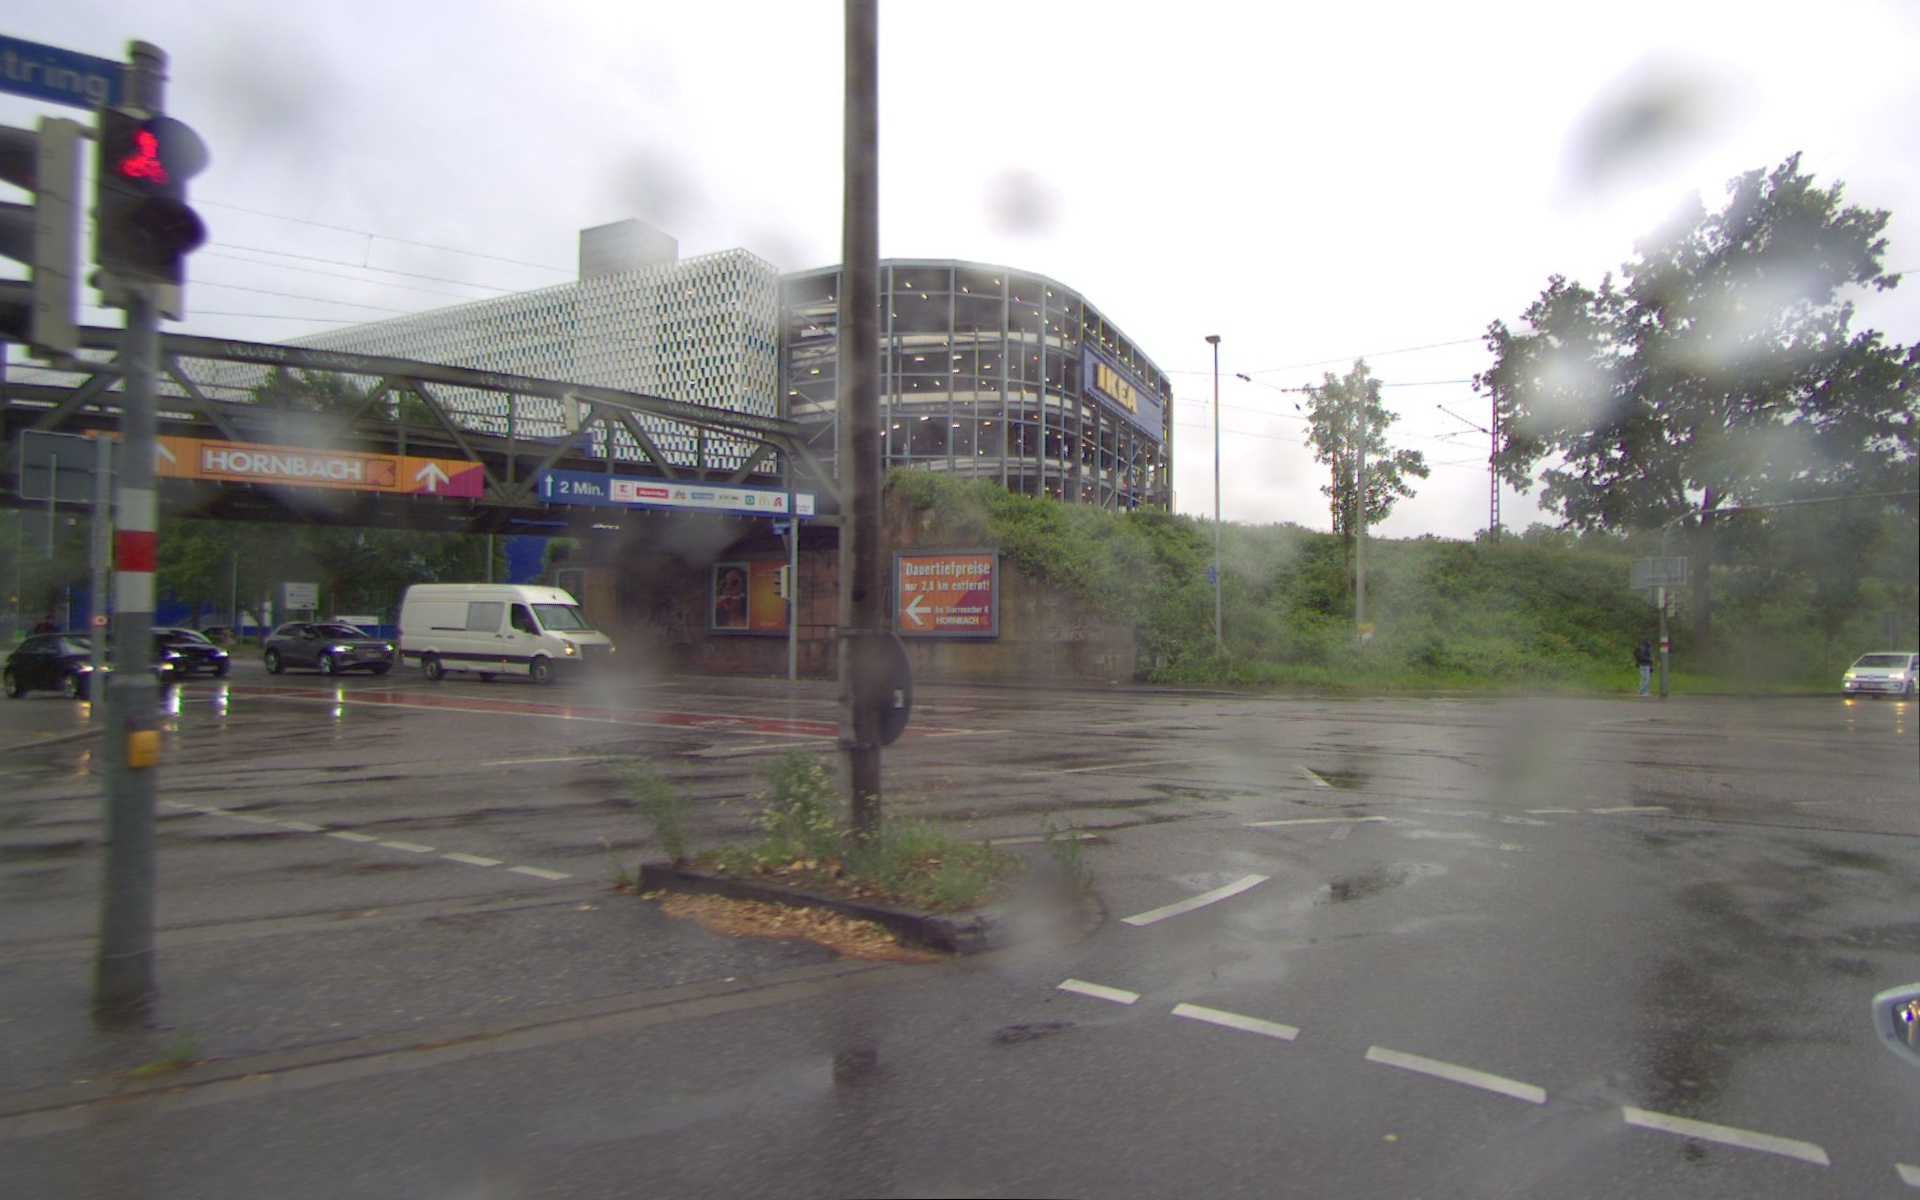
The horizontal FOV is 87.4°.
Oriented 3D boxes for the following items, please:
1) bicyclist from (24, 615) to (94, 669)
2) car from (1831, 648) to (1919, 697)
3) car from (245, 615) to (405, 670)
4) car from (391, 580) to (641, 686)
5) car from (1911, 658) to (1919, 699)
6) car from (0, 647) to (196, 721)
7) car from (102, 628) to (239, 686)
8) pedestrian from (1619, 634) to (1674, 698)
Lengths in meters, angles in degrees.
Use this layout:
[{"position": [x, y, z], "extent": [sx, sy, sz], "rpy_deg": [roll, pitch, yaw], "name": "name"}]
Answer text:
[{"position": [-25.652, 1.202, 28.617], "extent": [1.037, 1.503, 1.151], "rpy_deg": [-1, -2, 26], "name": "bicyclist"}, {"position": [29.746, 2.296, 32.262], "extent": [3.745, 1.471, 1.630], "rpy_deg": [2, -3, -32], "name": "car"}, {"position": [-19.900, 1.313, 31.458], "extent": [4.859, 1.621, 1.881], "rpy_deg": [0, -2, 25], "name": "car"}, {"position": [-12.234, 0.888, 27.565], "extent": [6.848, 2.645, 2.385], "rpy_deg": [0, -2, 26], "name": "car"}, {"position": [35.252, 2.754, 35.371], "extent": [3.779, 1.422, 1.583], "rpy_deg": [2, -3, -31], "name": "car"}, {"position": [-19.062, 1.794, 22.189], "extent": [4.068, 1.453, 1.692], "rpy_deg": [-1, -2, 23], "name": "car"}, {"position": [-23.463, 1.664, 29.831], "extent": [3.836, 1.621, 1.653], "rpy_deg": [0, -2, 26], "name": "car"}, {"position": [20.496, 1.948, 29.984], "extent": [1.122, 1.871, 1.093], "rpy_deg": [2, -3, -41], "name": "pedestrian"}]
